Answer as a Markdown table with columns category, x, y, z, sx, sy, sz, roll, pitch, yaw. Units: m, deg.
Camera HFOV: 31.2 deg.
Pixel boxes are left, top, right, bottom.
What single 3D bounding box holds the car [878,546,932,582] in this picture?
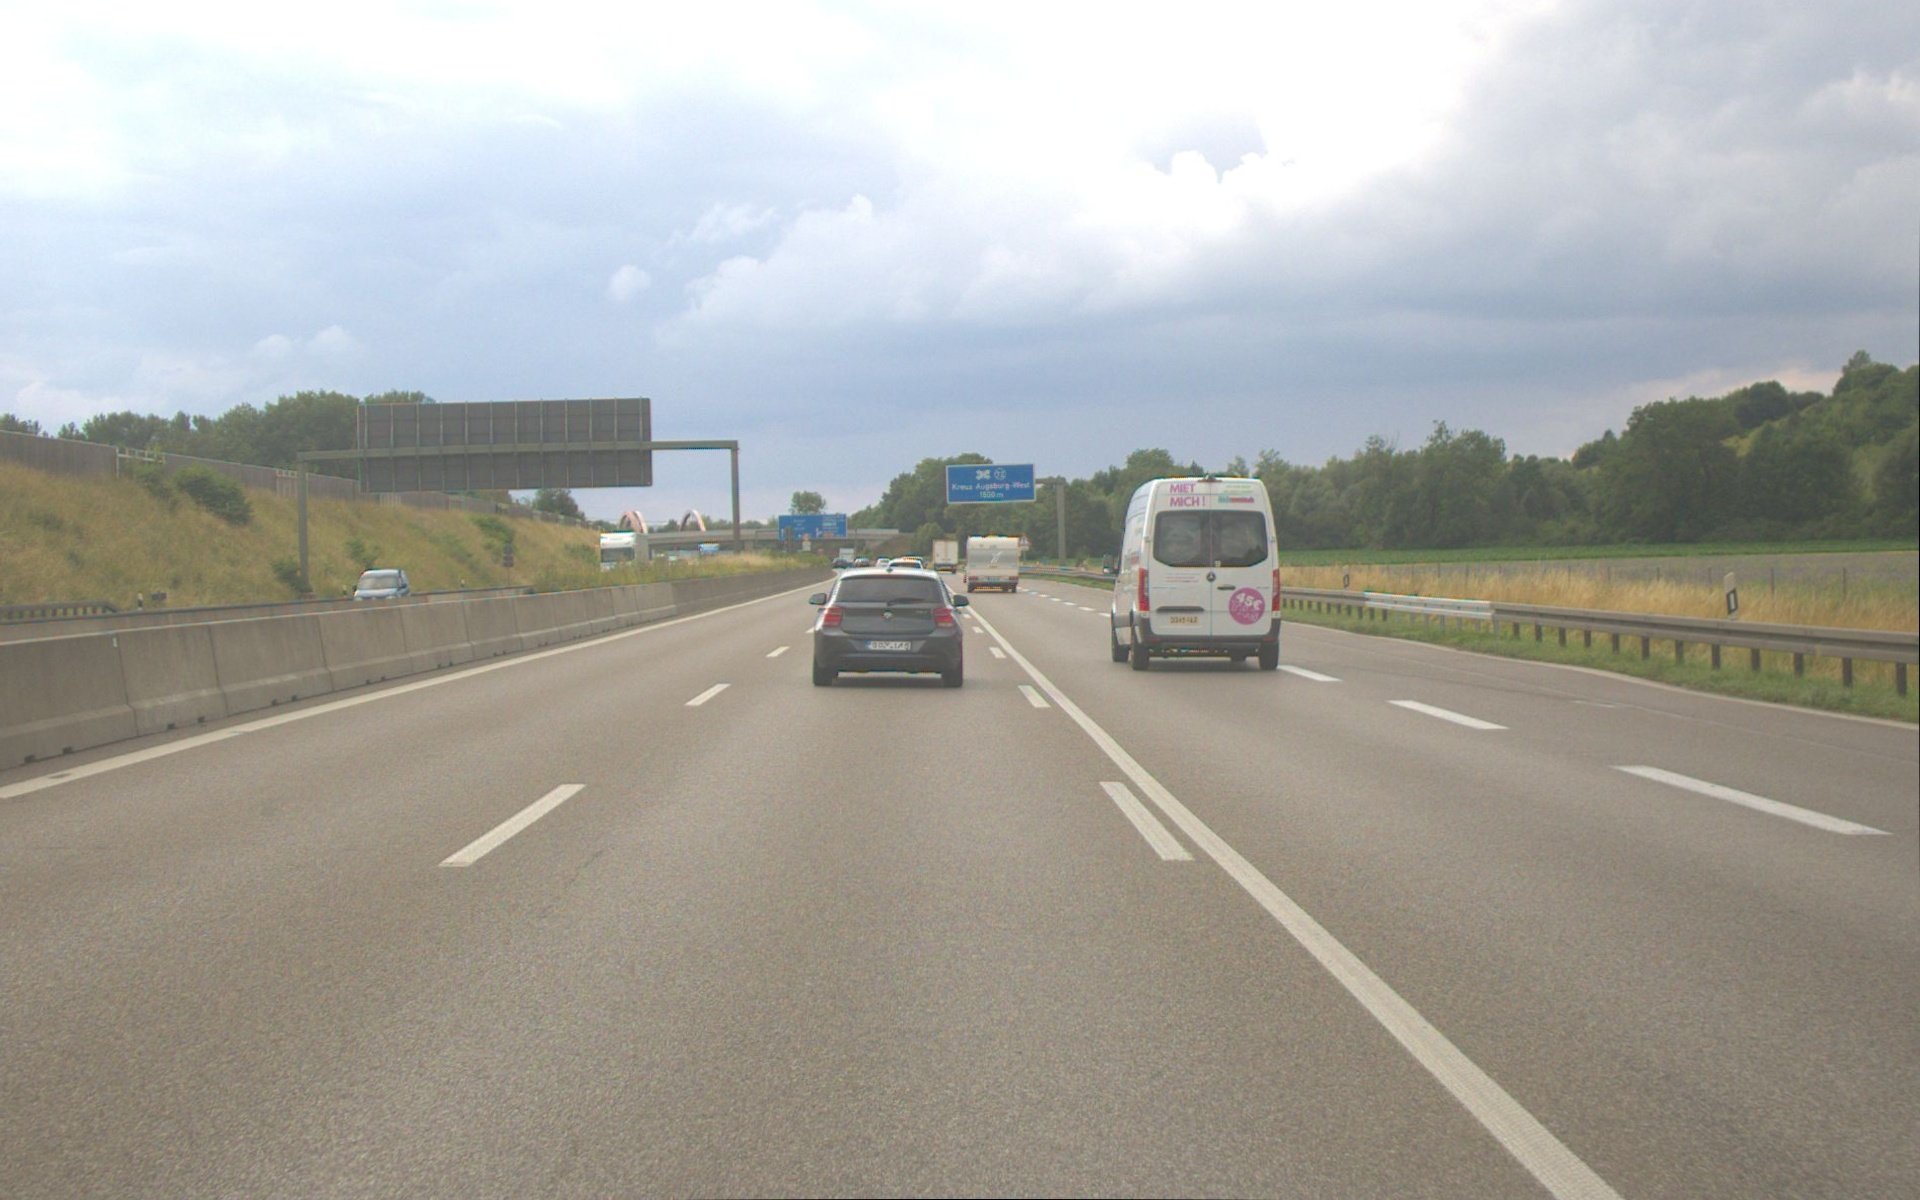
| category | x | y | z | sx | sy | sz | roll | pitch | yaw |
| --- | --- | --- | --- | --- | --- | --- | --- | --- | --- |
| car | -2.120 | -1.406 | 132.114 | 1.993 | 1.293 | 4.000 | -2 | 1 | -1 |

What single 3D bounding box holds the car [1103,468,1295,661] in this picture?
| category | x | y | z | sx | sy | sz | roll | pitch | yaw |
| --- | --- | --- | --- | --- | --- | --- | --- | --- | --- |
| car | 3.309 | -0.531 | 48.934 | 2.221 | 2.559 | 6.256 | 0 | 1 | -1 |

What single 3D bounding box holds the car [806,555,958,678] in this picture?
| category | x | y | z | sx | sy | sz | roll | pitch | yaw |
| --- | --- | --- | --- | --- | --- | --- | --- | --- | --- |
| car | -0.916 | 0.161 | 41.448 | 1.743 | 1.384 | 4.000 | 0 | 1 | -1 |

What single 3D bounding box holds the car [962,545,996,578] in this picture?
| category | x | y | z | sx | sy | sz | roll | pitch | yaw |
| --- | --- | --- | --- | --- | --- | --- | --- | --- | --- |
| car | 1.172 | -2.425 | 213.964 | 1.993 | 2.007 | 4.000 | -1 | 1 | -1 |

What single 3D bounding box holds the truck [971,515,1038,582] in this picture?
| category | x | y | z | sx | sy | sz | roll | pitch | yaw |
| --- | --- | --- | --- | --- | --- | --- | --- | --- | --- |
| truck | 2.009 | -2.412 | 159.994 | 2.710 | 2.954 | 12.448 | 1 | 1 | -1 |

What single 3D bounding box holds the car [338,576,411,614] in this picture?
| category | x | y | z | sx | sy | sz | roll | pitch | yaw |
| --- | --- | --- | --- | --- | --- | --- | --- | --- | --- |
| car | -22.083 | -0.212 | 129.744 | 1.993 | 1.359 | 4.941 | 1 | 1 | -1 |
